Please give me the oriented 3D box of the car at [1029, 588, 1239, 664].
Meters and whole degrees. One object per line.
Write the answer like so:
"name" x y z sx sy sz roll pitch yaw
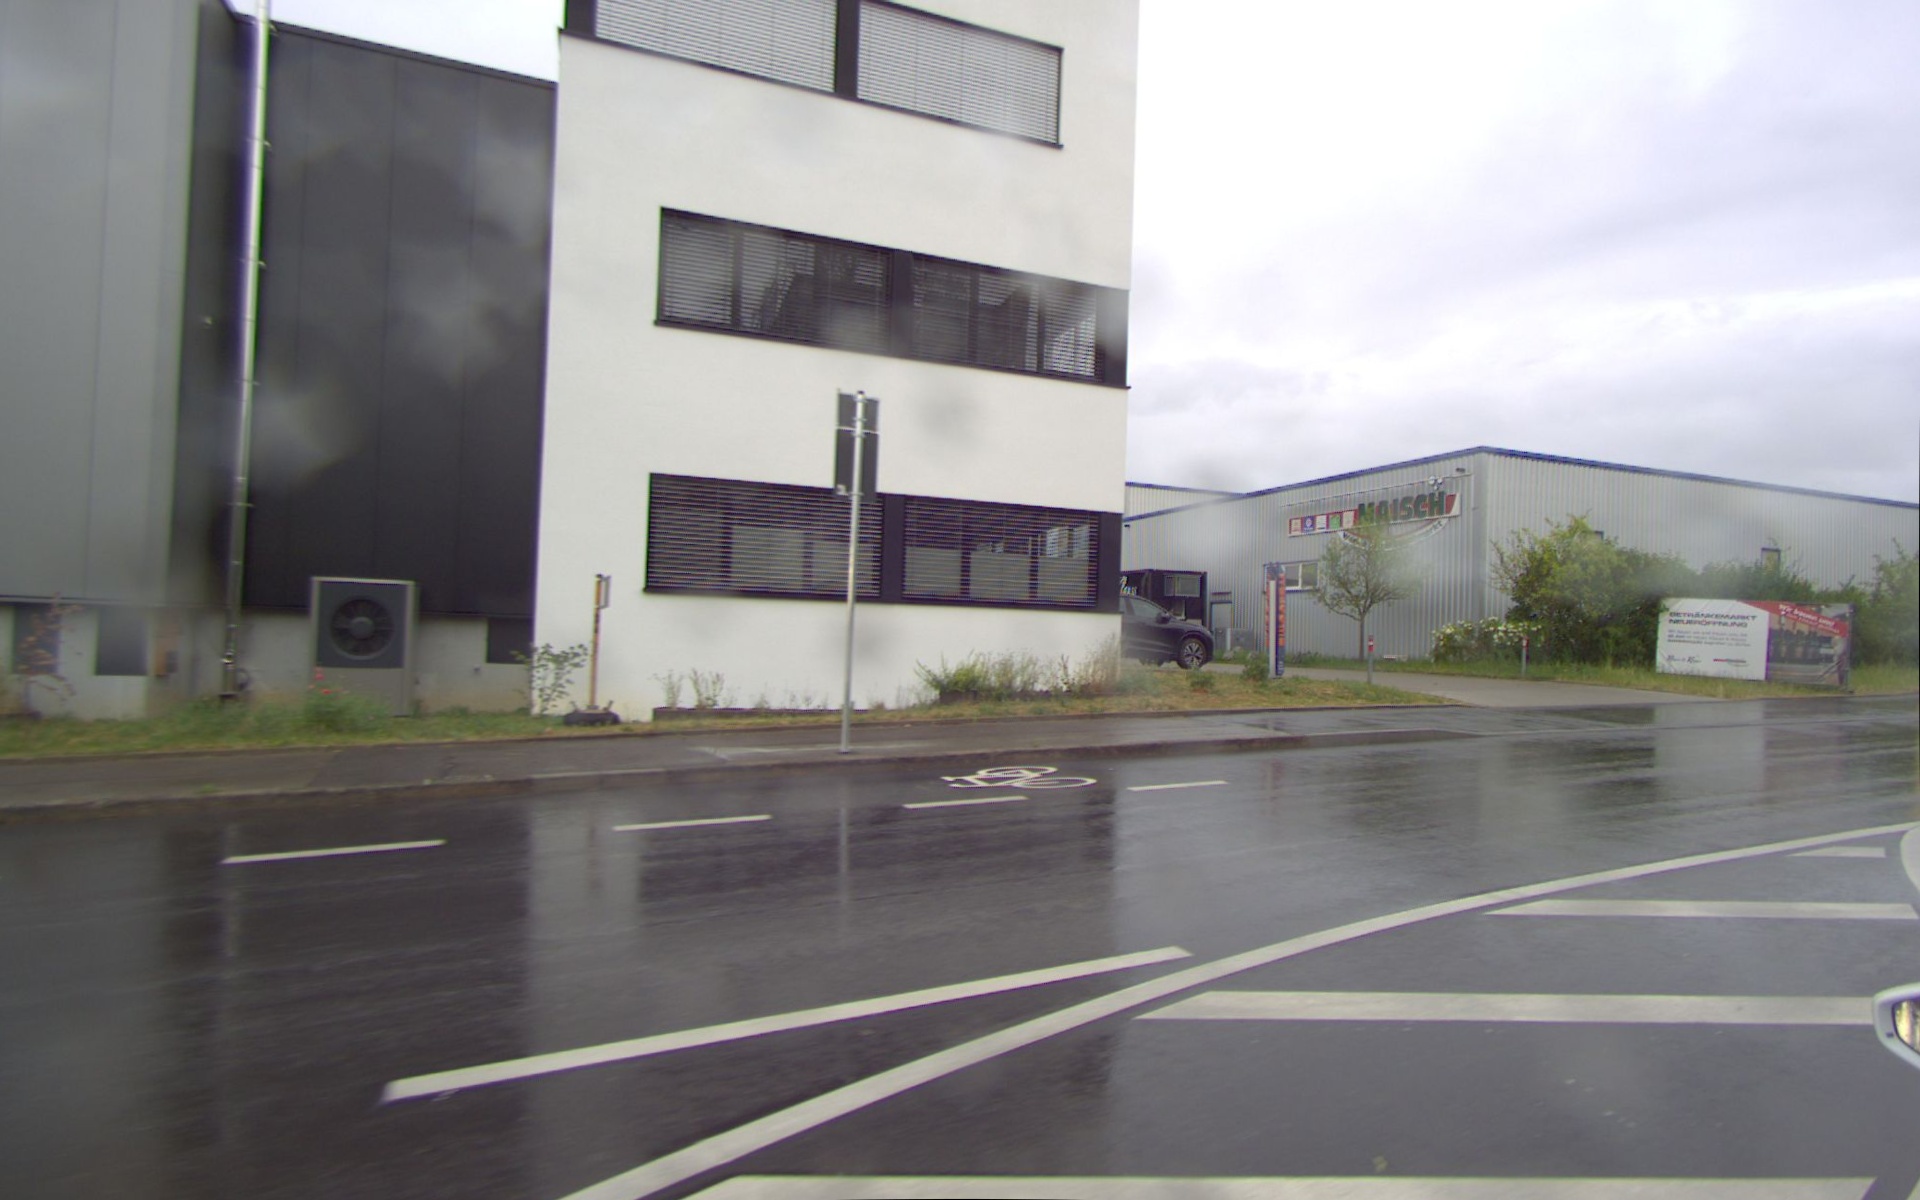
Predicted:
"car" 4.036 0.602 23.281 4.542 1.617 1.847 1 0 -24
